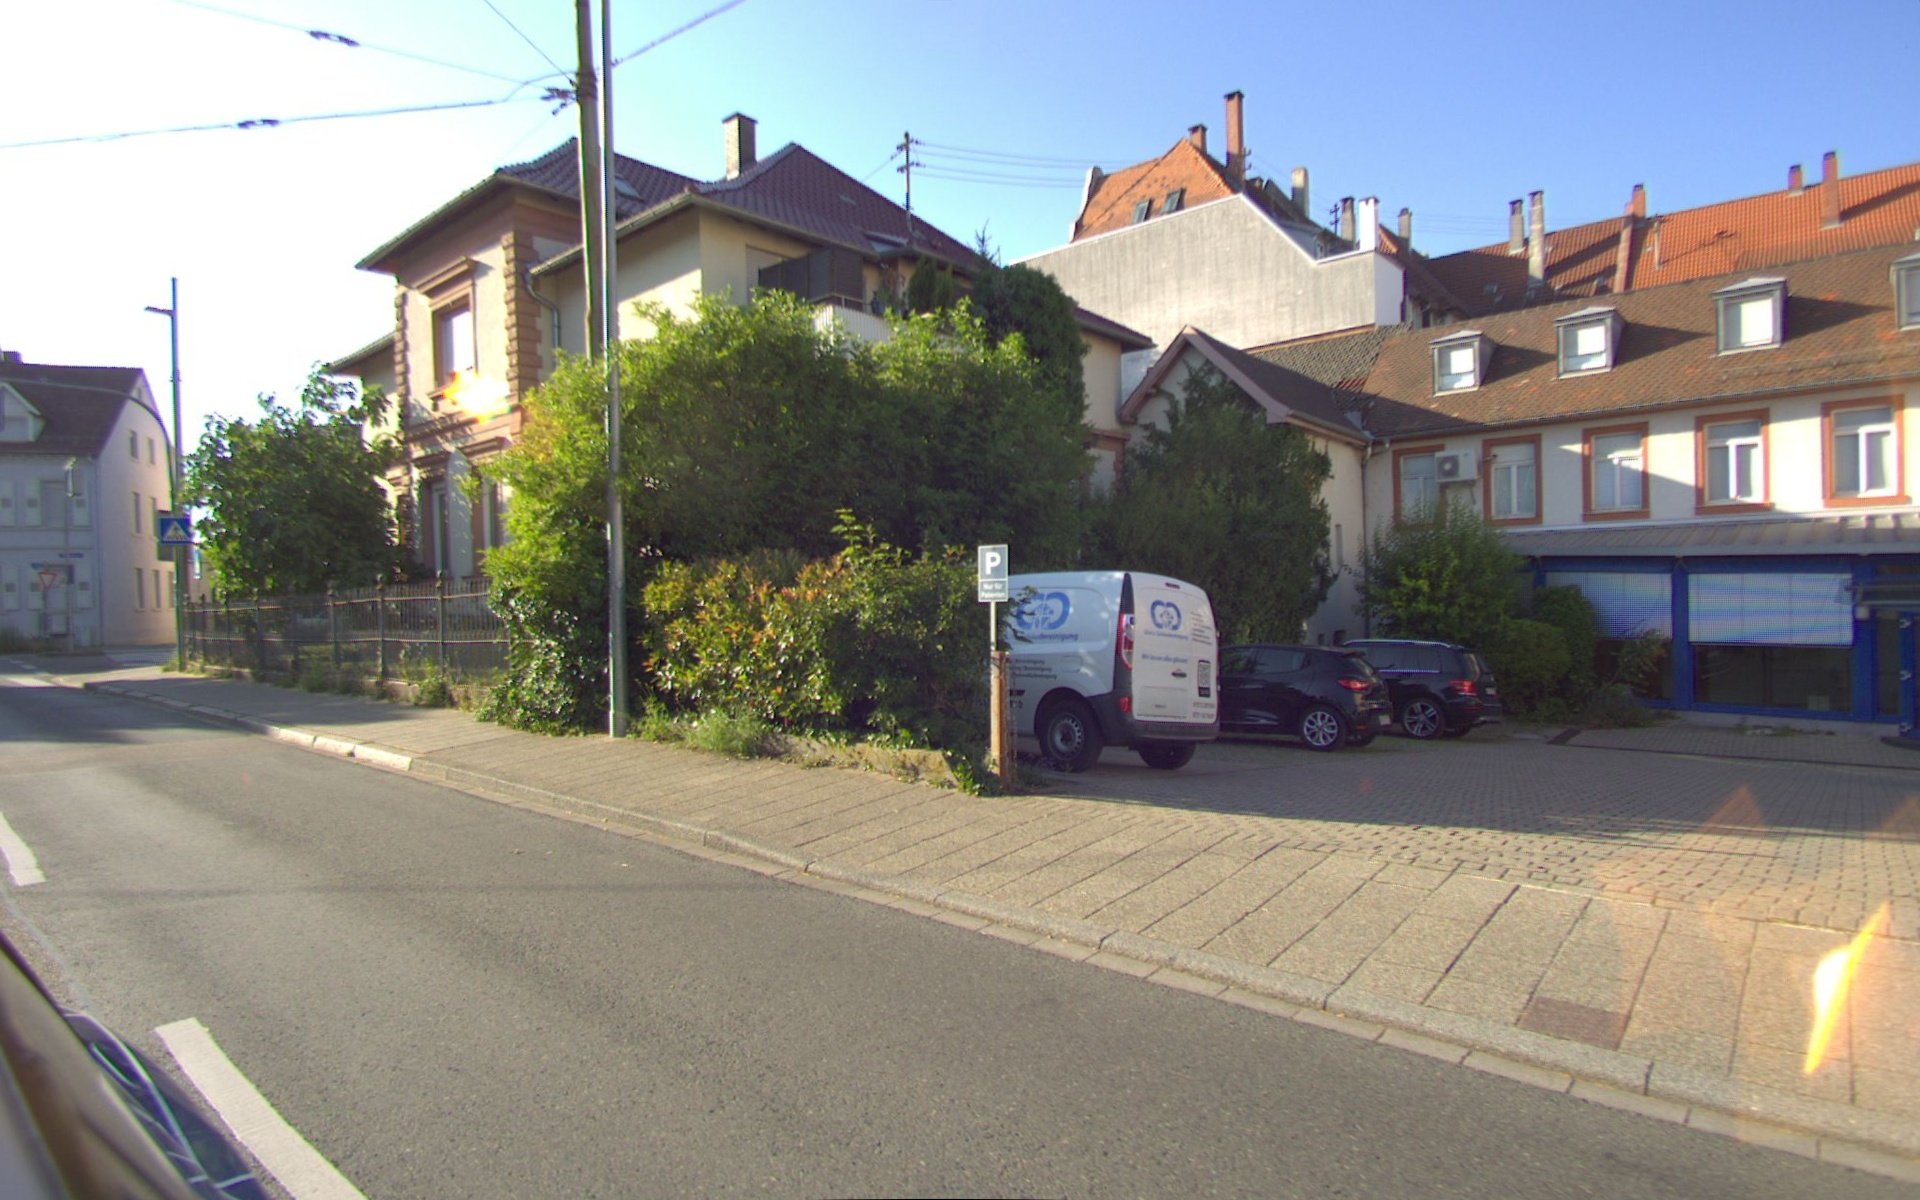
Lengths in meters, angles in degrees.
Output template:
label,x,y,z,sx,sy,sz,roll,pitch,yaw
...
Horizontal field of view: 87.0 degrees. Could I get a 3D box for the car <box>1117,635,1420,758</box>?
label,x,y,z,sx,sy,sz,roll,pitch,yaw
car,4.378,1.289,14.568,3.786,1.529,1.824,-1,-3,37

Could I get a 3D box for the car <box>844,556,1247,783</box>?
label,x,y,z,sx,sy,sz,roll,pitch,yaw
car,0.733,0.666,10.029,3.671,1.829,1.682,-1,-6,43

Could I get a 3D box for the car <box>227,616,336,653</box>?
label,x,y,z,sx,sy,sz,roll,pitch,yaw
car,-30.631,1.532,45.750,1.702,1.465,3.827,-1,1,44

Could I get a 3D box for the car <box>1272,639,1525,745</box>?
label,x,y,z,sx,sy,sz,roll,pitch,yaw
car,7.793,1.583,18.186,3.794,1.681,1.820,-2,-5,45
